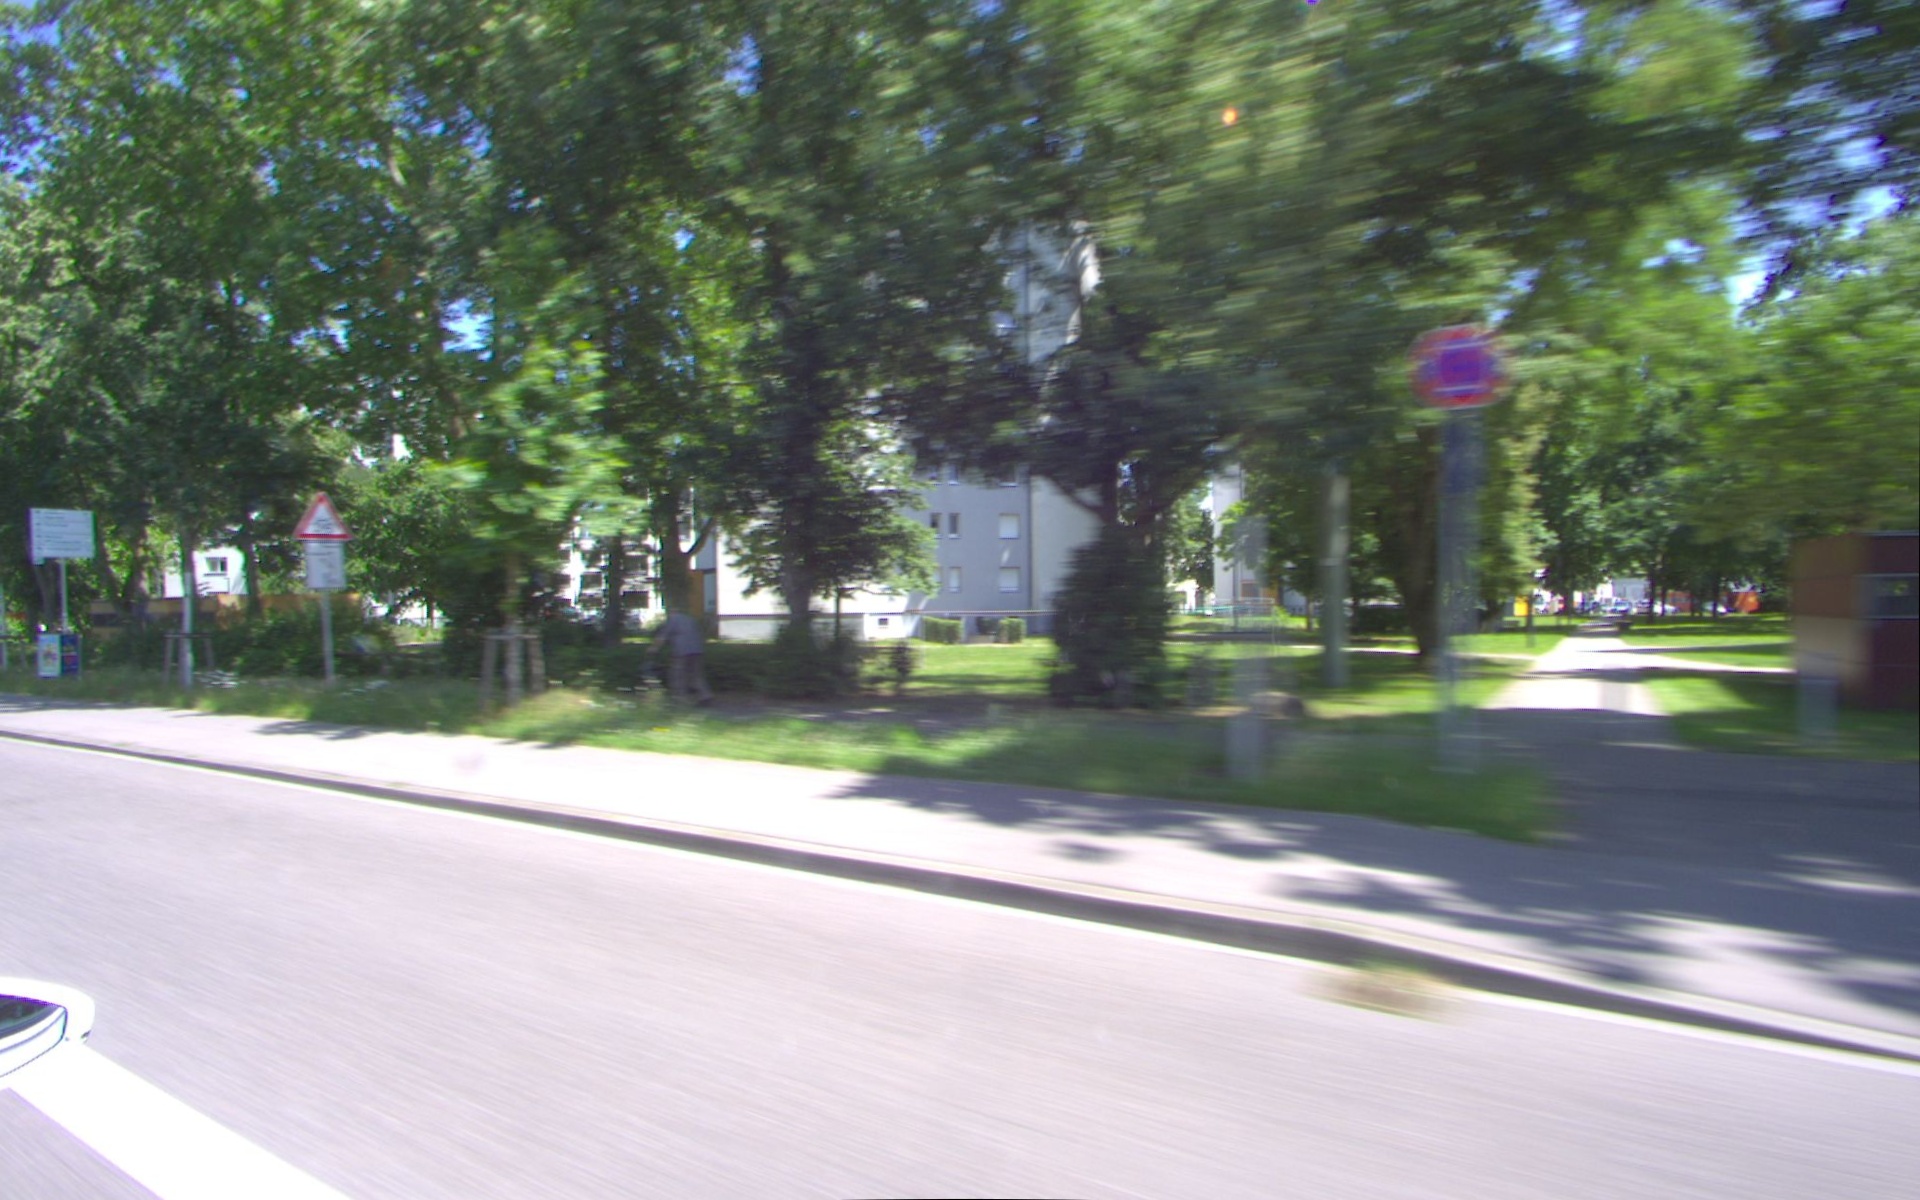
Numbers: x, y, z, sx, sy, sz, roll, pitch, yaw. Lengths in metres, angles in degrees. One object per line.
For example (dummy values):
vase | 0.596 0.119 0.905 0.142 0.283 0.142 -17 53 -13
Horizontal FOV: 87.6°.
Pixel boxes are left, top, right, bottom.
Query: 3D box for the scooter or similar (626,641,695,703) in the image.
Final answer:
scooter or similar | -4.603 1.093 15.403 0.752 0.904 0.707 0 -1 33

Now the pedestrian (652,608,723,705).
pedestrian | -4.099 0.831 15.080 0.752 1.416 0.707 0 -1 33
